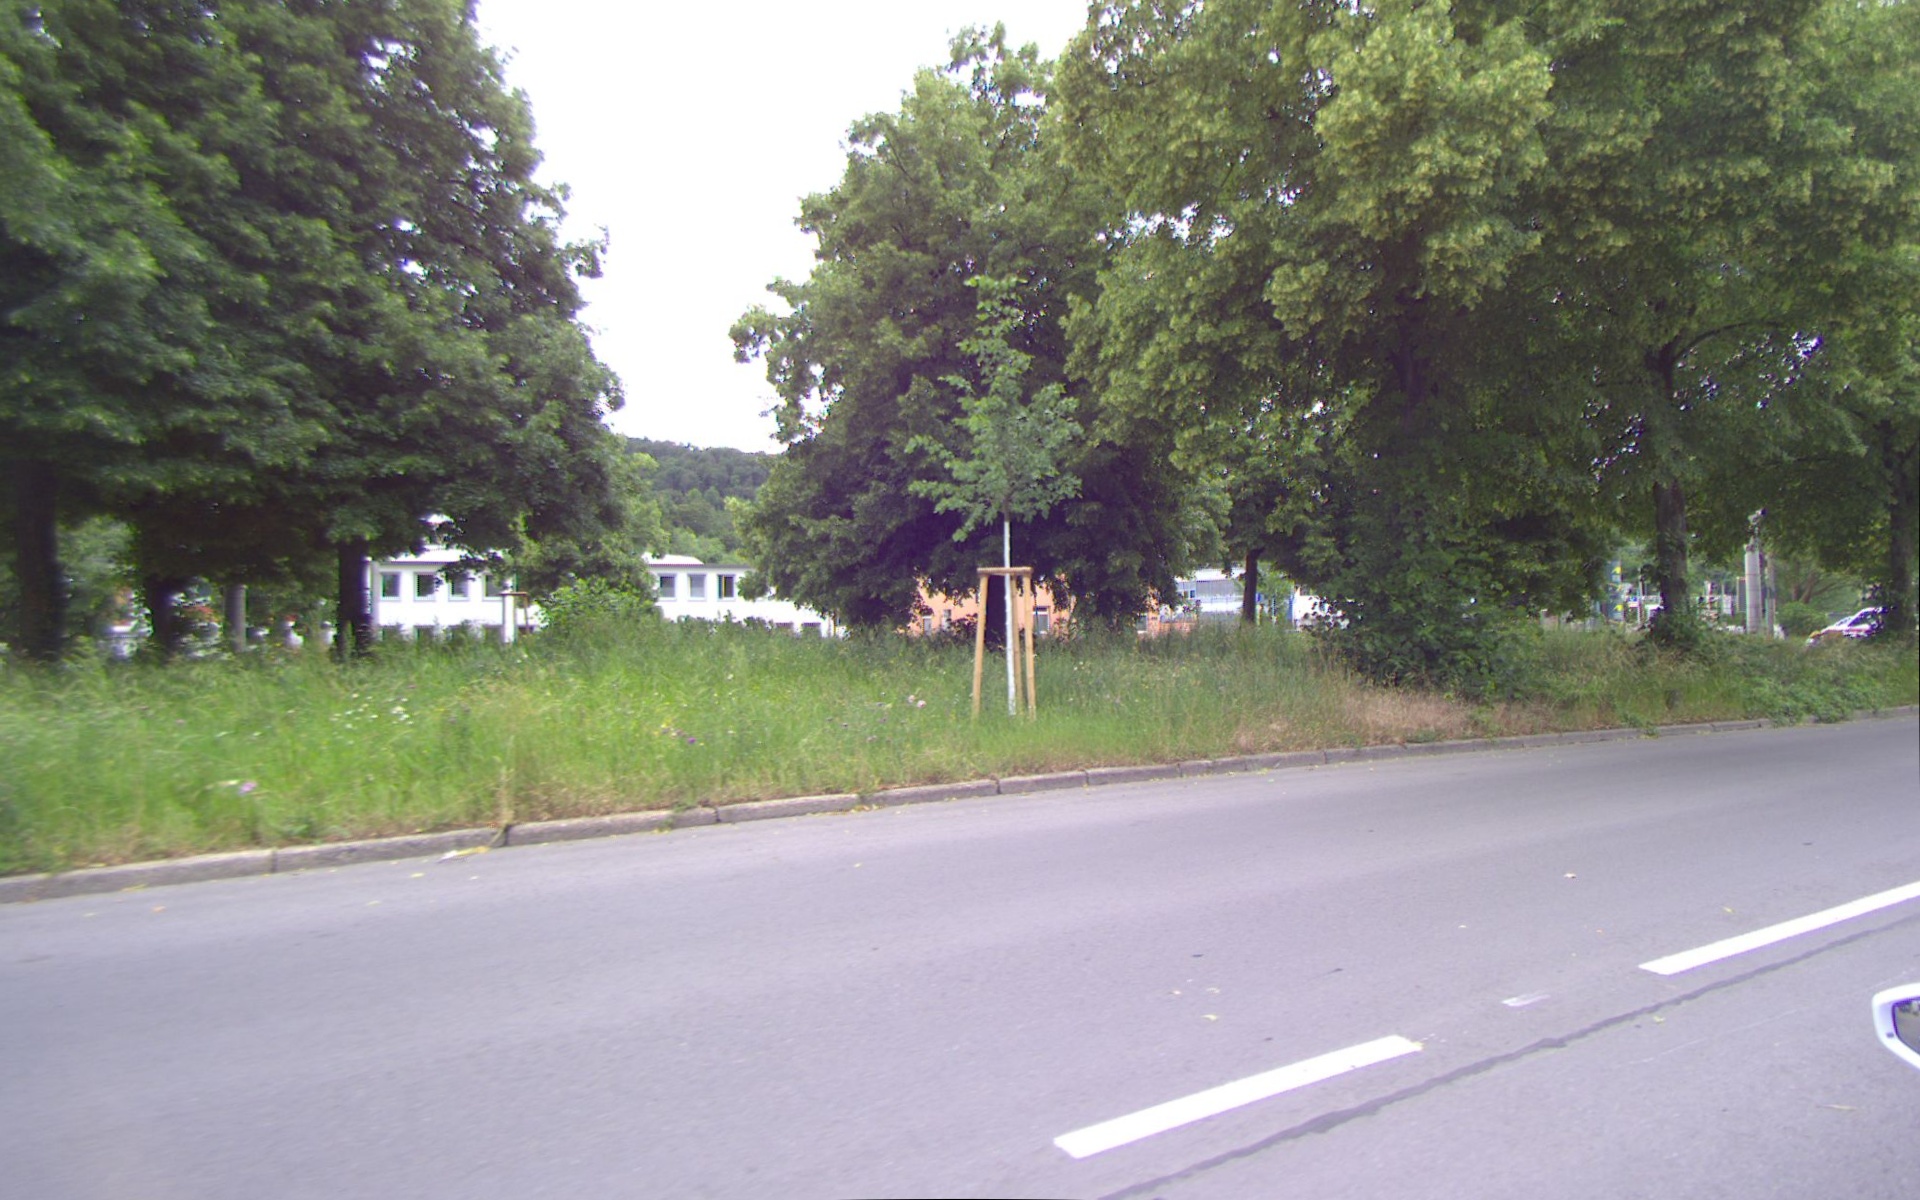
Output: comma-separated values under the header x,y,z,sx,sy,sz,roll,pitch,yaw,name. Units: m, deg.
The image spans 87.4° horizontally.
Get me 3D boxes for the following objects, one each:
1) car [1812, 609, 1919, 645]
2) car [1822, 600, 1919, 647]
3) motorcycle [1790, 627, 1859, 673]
x,y,z,sx,sy,sz,roll,pitch,yaw,name
51.837,1.562,56.958,2.018,1.967,4.971,0,-2,-21,car
49.910,1.251,53.174,2.369,2.418,6.037,0,-3,-33,car
22.997,1.320,26.716,2.007,1.183,0.564,0,-2,-24,motorcycle
